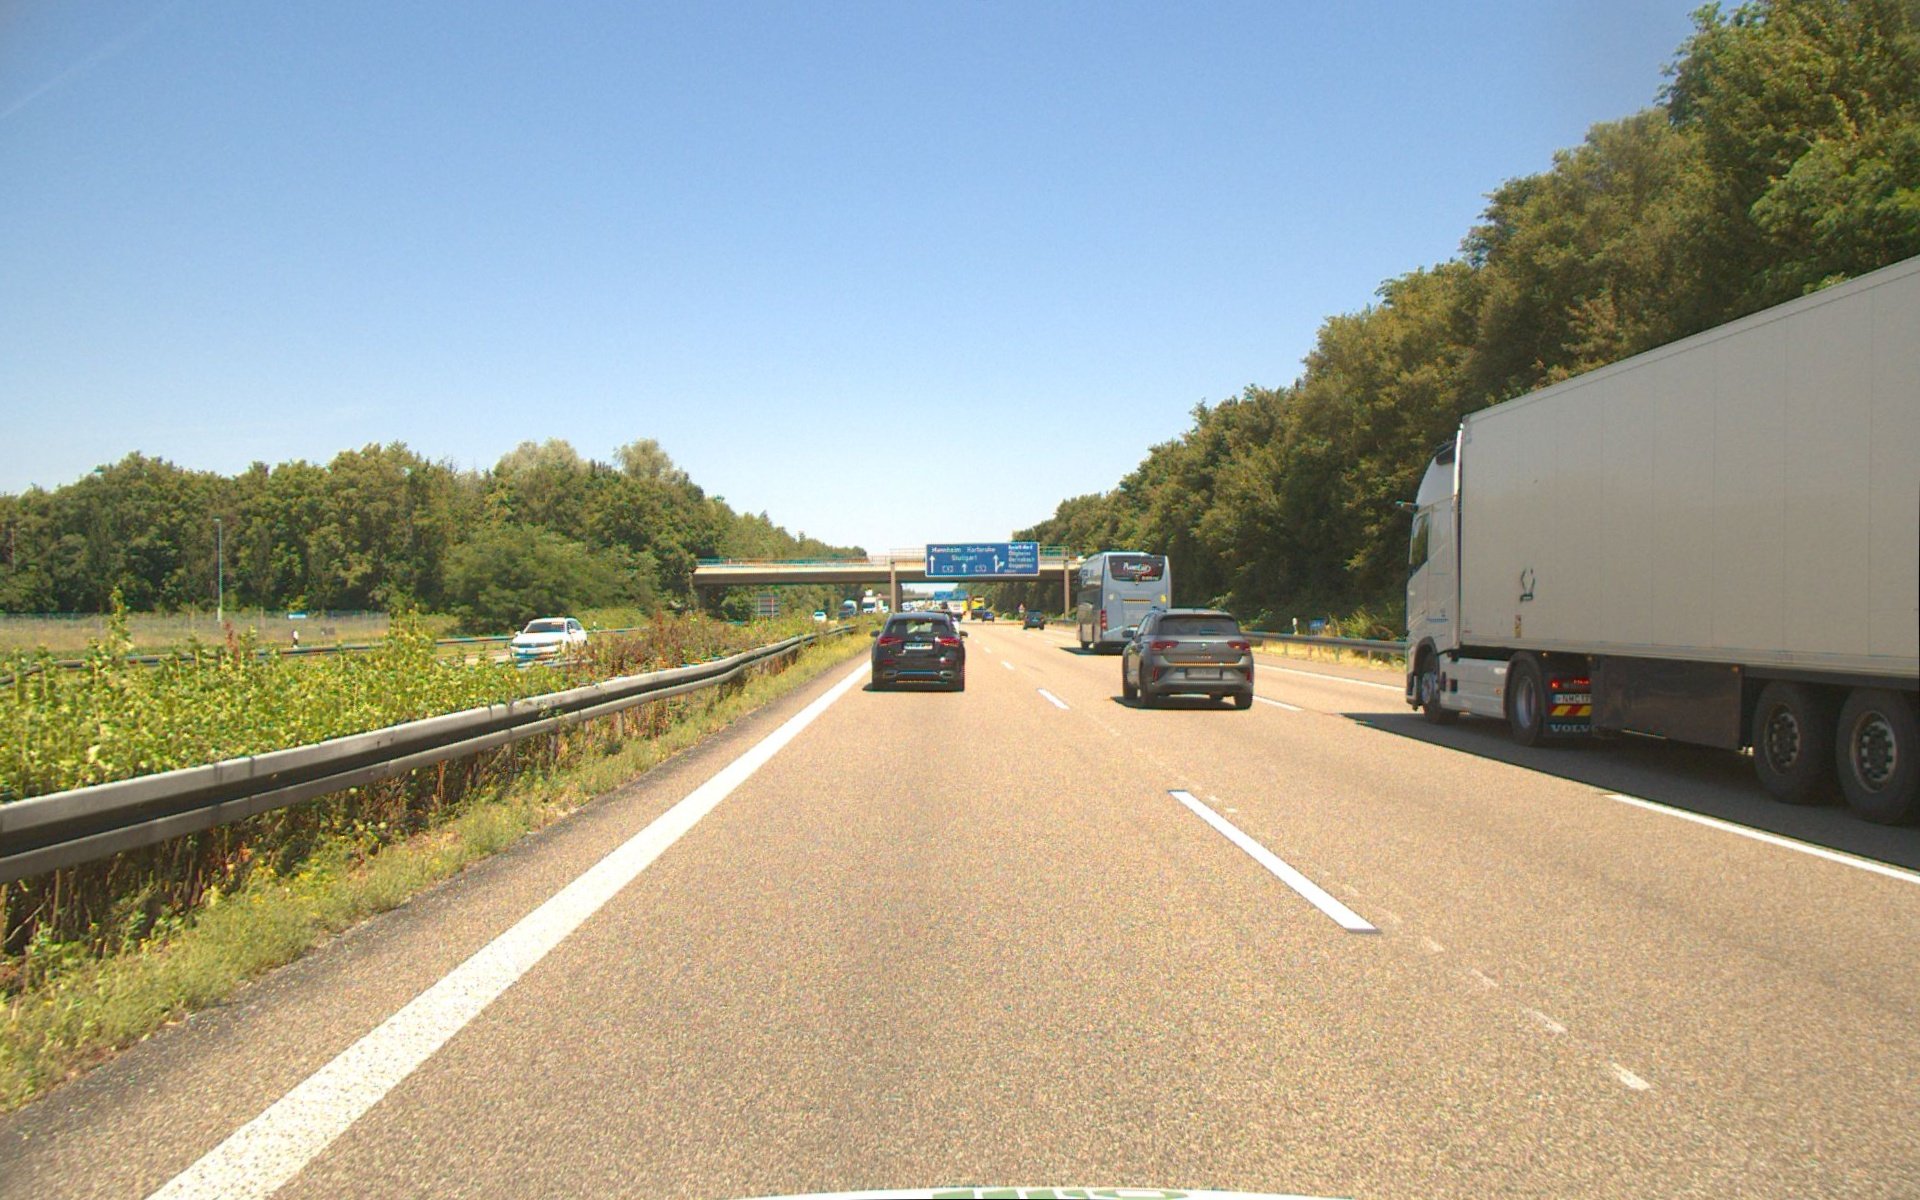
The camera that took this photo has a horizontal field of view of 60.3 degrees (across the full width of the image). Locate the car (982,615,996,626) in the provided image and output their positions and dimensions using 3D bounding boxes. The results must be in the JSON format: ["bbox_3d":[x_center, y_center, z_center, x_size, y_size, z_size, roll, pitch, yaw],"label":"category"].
[{"bbox_3d":[4.214,2.959,242.749,2.038,1.559,4.241,1,0,0],"label":"car"}]

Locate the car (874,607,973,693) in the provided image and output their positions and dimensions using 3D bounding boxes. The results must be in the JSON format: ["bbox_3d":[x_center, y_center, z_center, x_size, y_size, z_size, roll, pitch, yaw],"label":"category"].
[{"bbox_3d":[-0.722,0.913,32.039,1.763,1.528,4.240,1,0,-2],"label":"car"}]

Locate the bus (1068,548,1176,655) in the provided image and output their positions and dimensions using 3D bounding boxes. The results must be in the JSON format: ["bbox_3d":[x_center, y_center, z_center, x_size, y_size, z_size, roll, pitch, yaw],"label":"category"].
[{"bbox_3d":[6.007,0.114,63.431,2.745,3.659,12.471,0,-1,-1],"label":"bus"}]

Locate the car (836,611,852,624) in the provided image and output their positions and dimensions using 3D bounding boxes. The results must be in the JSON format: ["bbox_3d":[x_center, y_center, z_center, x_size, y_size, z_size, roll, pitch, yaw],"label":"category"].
[{"bbox_3d":[-14.558,2.214,207.364,1.771,1.509,4.415,-3,0,-1],"label":"car"}]

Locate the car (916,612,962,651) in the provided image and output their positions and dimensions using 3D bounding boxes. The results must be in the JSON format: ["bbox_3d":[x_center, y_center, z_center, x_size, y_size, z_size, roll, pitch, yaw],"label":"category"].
[{"bbox_3d":[-0.920,1.294,69.658,1.861,1.559,4.240,1,0,-2],"label":"car"}]

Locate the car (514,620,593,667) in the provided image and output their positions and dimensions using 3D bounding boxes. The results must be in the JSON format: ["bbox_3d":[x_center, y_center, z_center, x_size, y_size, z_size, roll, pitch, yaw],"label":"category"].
[{"bbox_3d":[-13.636,1.440,55.696,1.600,1.452,4.659,-2,0,-2],"label":"car"}]

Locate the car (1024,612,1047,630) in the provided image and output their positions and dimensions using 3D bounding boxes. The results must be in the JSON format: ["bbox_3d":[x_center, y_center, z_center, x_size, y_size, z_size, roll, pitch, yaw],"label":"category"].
[{"bbox_3d":[6.453,1.780,141.527,1.753,1.487,3.949,1,0,0],"label":"car"}]

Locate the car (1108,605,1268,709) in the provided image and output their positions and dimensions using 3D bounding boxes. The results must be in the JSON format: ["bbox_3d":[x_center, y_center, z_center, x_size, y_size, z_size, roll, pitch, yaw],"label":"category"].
[{"bbox_3d":[3.670,0.881,27.449,1.861,1.559,4.758,1,0,-2],"label":"car"}]

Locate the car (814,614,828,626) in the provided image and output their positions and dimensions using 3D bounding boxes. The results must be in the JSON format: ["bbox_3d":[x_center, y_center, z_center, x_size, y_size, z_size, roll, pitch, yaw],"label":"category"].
[{"bbox_3d":[-20.058,2.838,238.795,1.861,1.621,4.741,-1,0,-2],"label":"car"}]

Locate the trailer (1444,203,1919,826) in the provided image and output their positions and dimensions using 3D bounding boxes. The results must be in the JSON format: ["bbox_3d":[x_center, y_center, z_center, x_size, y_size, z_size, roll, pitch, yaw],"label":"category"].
[{"bbox_3d":[8.001,-0.561,14.644,2.978,4.298,13.830,1,0,-2],"label":"trailer"}]

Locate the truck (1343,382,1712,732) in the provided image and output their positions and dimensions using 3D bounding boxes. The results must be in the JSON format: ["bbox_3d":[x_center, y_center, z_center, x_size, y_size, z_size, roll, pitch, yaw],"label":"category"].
[{"bbox_3d":[7.733,-0.516,23.491,2.986,4.289,6.046,1,0,-2],"label":"truck"}]
